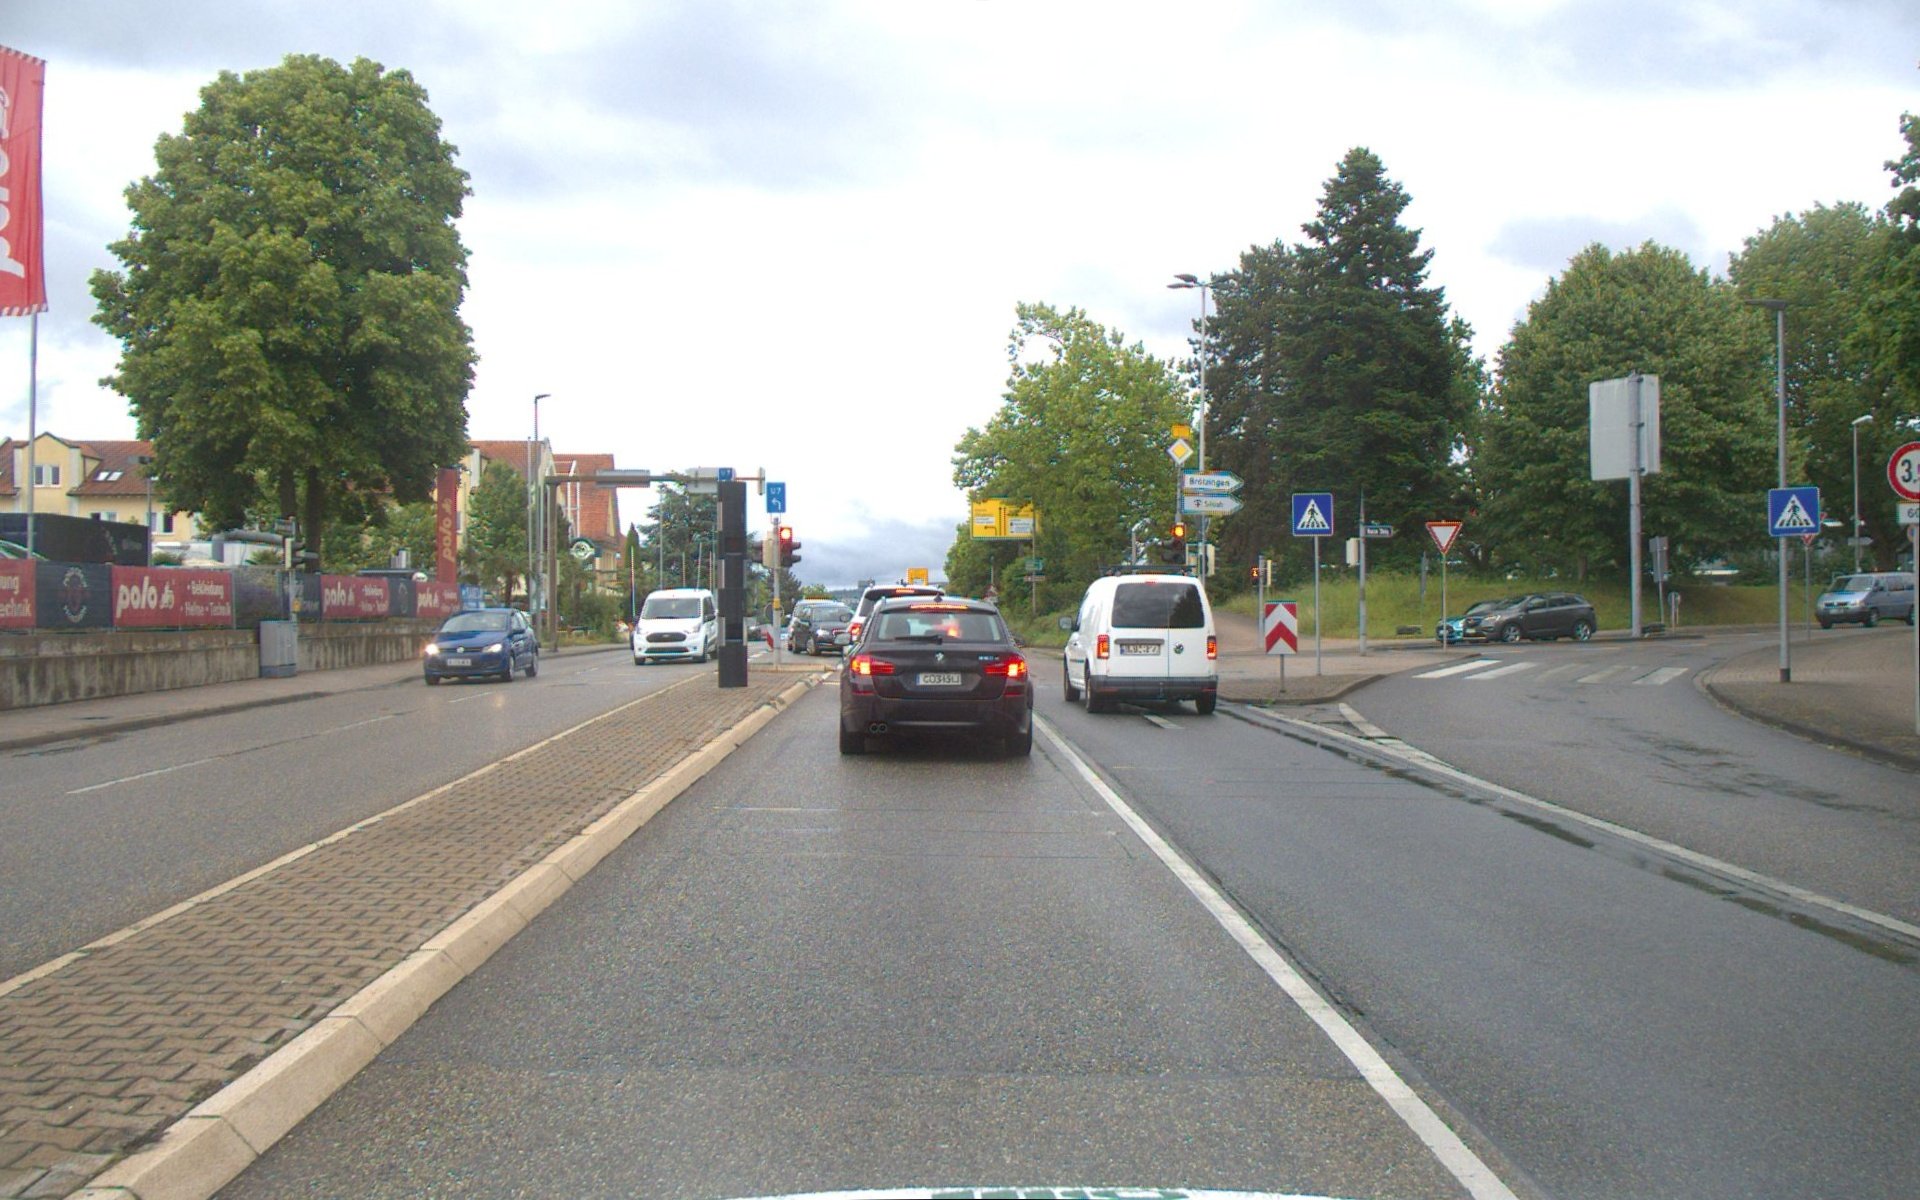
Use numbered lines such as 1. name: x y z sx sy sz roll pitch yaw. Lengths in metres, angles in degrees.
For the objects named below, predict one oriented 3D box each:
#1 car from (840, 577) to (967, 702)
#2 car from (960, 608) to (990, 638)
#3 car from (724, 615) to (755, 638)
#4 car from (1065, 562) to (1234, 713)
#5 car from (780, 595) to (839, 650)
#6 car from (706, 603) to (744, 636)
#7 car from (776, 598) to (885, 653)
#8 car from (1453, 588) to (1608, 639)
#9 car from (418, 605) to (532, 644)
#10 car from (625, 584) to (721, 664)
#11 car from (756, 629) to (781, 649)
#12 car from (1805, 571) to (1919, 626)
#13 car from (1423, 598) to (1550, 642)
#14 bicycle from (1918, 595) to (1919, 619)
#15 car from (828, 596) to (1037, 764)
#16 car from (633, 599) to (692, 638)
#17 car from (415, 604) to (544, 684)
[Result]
1. car: -0.791 0.554 25.069 1.692 1.741 3.383 1 0 2
2. car: 0.781 1.210 87.946 1.567 1.395 3.680 -1 1 0
3. car: -14.277 1.689 107.297 1.634 1.377 3.441 -1 0 -2
4. car: 2.549 0.467 23.115 1.707 1.902 3.944 1 0 -3
5. car: -4.882 0.732 54.189 1.700 1.721 3.998 -1 0 -2
6. car: -12.546 1.035 88.496 1.634 1.699 3.681 -1 0 -2
7. car: -3.729 0.709 47.097 1.869 1.481 4.067 1 0 -23
8. car: 17.928 0.414 52.036 4.240 1.492 1.895 -1 0 -12
9. car: -19.621 0.956 66.984 4.148 1.481 1.783 -1 0 -30
10. car: -7.255 0.598 42.236 1.821 1.855 4.576 -2 0 -3
11. car: -14.530 2.969 125.749 1.634 1.377 3.441 -1 0 -2
12. car: 32.558 -0.090 59.146 4.674 1.883 1.883 -1 2 -29
13. car: 17.699 0.660 55.640 3.928 1.316 1.600 -2 1 -20
14. bicycle: 38.689 0.267 65.470 1.726 0.969 0.574 -1 0 -30
15. car: -0.208 0.699 16.508 1.816 1.444 3.957 1 0 1
16. car: -11.292 0.683 63.016 1.634 1.406 4.070 -1 0 -2
17. car: -9.572 0.844 33.214 1.602 1.406 3.763 -2 1 -3
